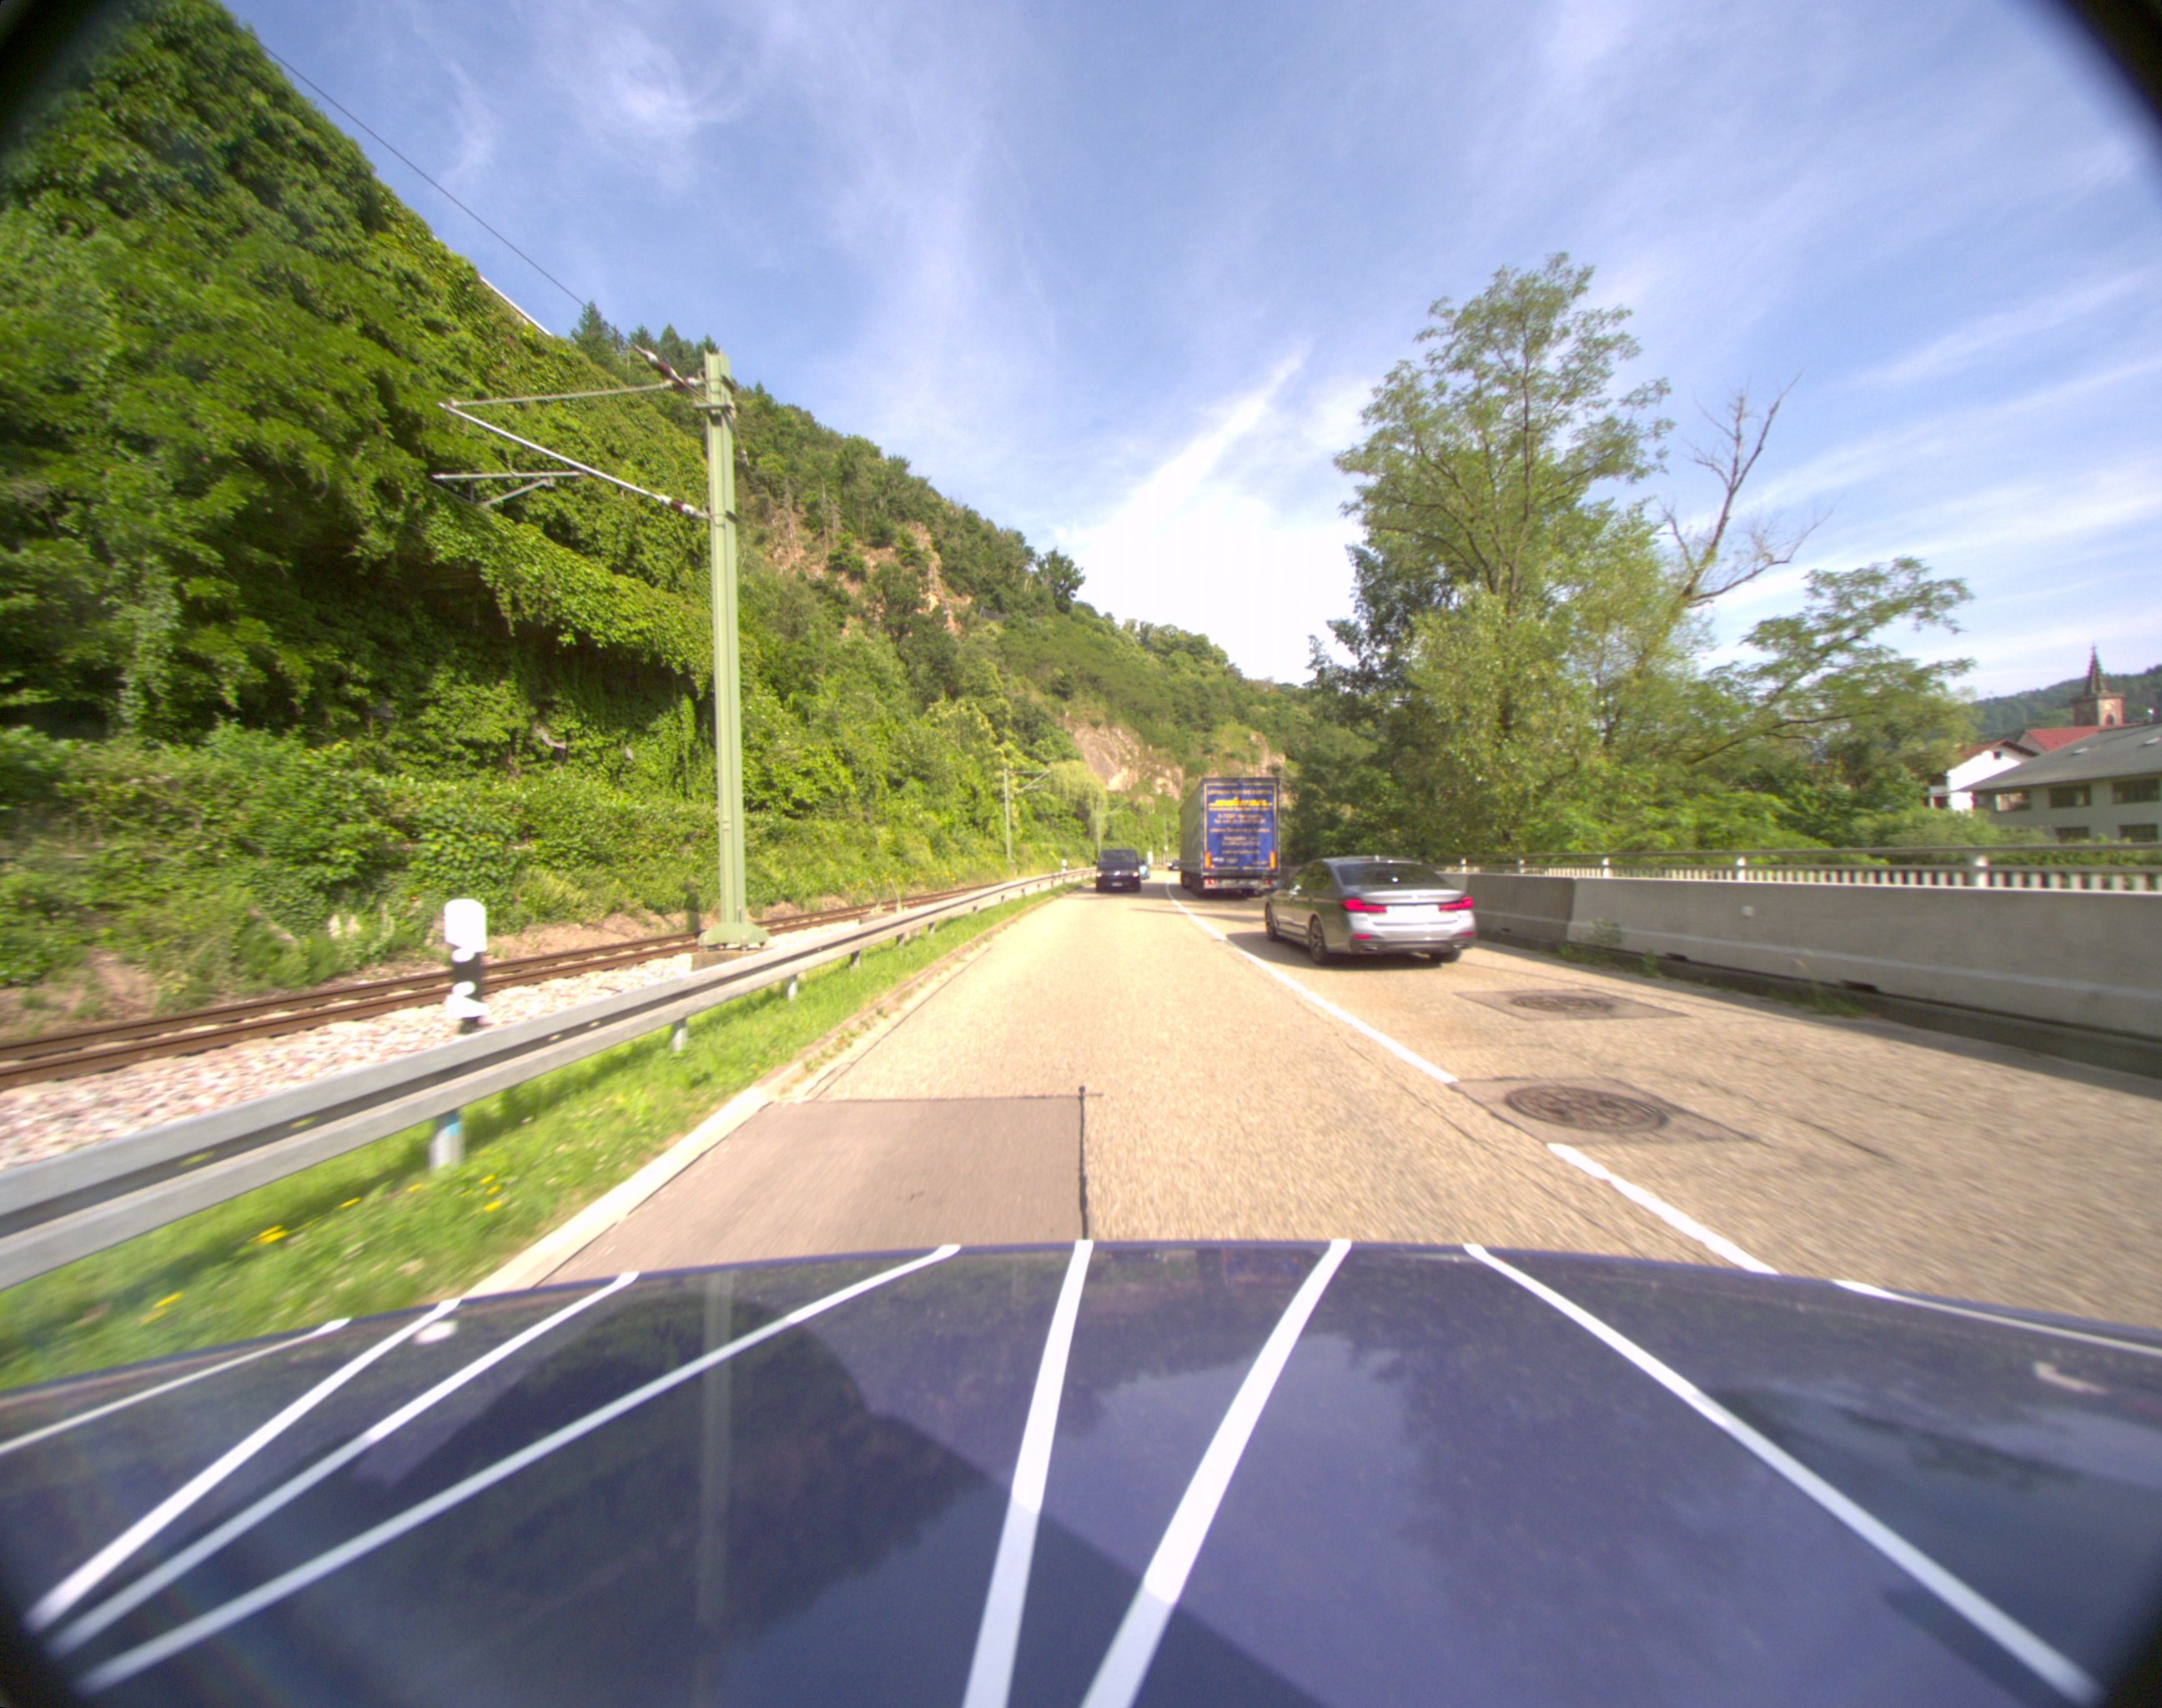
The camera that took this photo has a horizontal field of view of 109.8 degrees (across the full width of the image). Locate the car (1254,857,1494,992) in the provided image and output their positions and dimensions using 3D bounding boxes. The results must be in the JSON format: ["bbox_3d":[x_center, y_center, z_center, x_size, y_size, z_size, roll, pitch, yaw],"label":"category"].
[{"bbox_3d":[3.984,0.832,11.341,1.841,1.487,4.936,-2,0,3],"label":"car"}]

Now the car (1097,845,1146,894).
[{"bbox_3d":[1.864,0.687,33.653,1.998,2.001,4.003,-1,-2,5],"label":"car"}]

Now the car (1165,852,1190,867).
[{"bbox_3d":[10.116,0.573,79.548,1.996,1.486,4.225,0,0,16],"label":"car"}]

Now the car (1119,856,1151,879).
[{"bbox_3d":[3.753,0.884,52.222,1.997,1.486,4.222,0,0,6],"label":"car"}]

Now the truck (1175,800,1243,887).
[{"bbox_3d":[6.323,-0.483,38.280,2.747,4.004,6.413,0,0,4],"label":"truck"}]

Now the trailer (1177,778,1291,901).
[{"bbox_3d":[5.830,-0.464,31.541,2.863,3.989,13.674,0,0,4],"label":"trailer"}]
